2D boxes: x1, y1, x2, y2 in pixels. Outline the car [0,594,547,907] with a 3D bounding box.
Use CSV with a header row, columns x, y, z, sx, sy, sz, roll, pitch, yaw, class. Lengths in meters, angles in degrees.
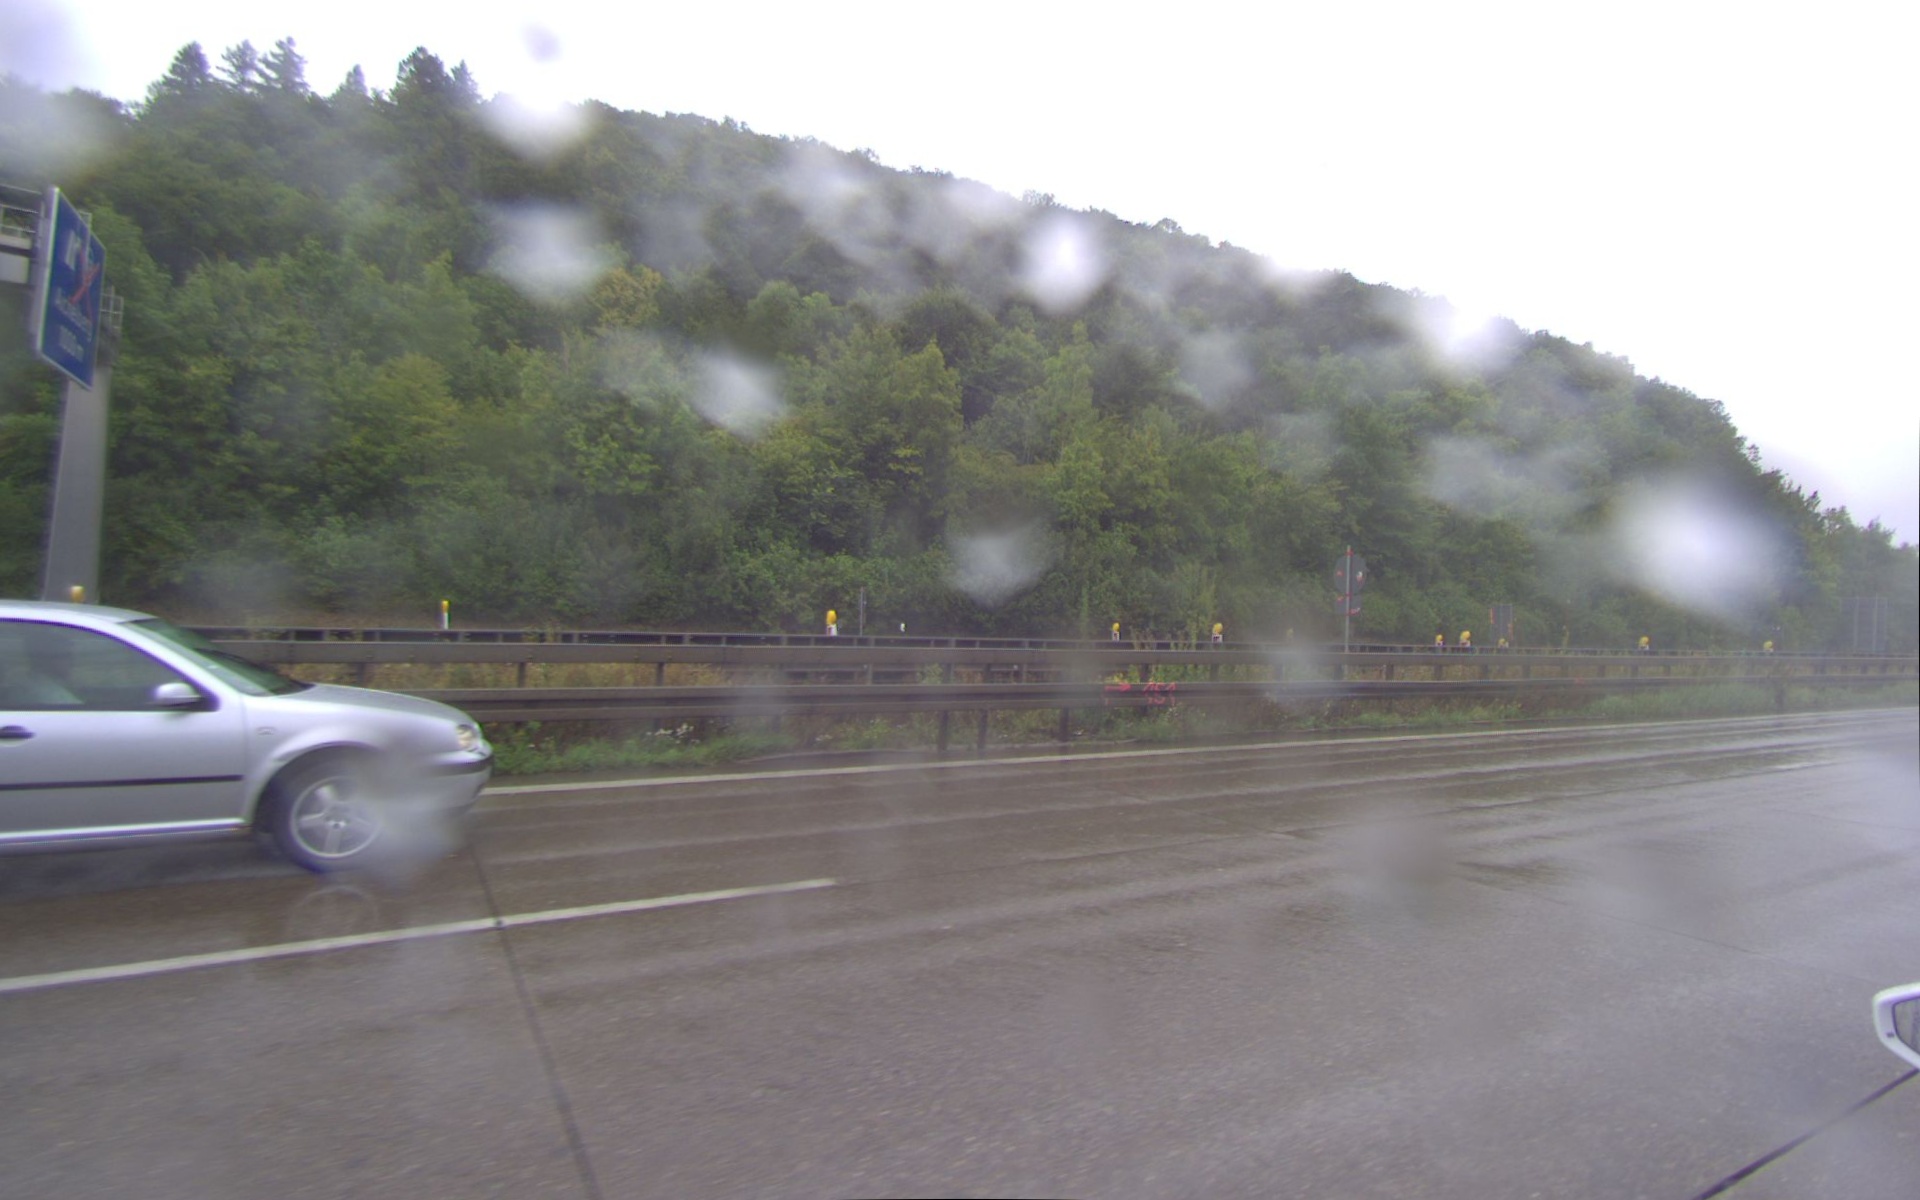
x,y,z,sx,sy,sz,roll,pitch,yaw,class
-4.727,0.717,5.548,4.301,1.453,1.658,2,0,-32,car
